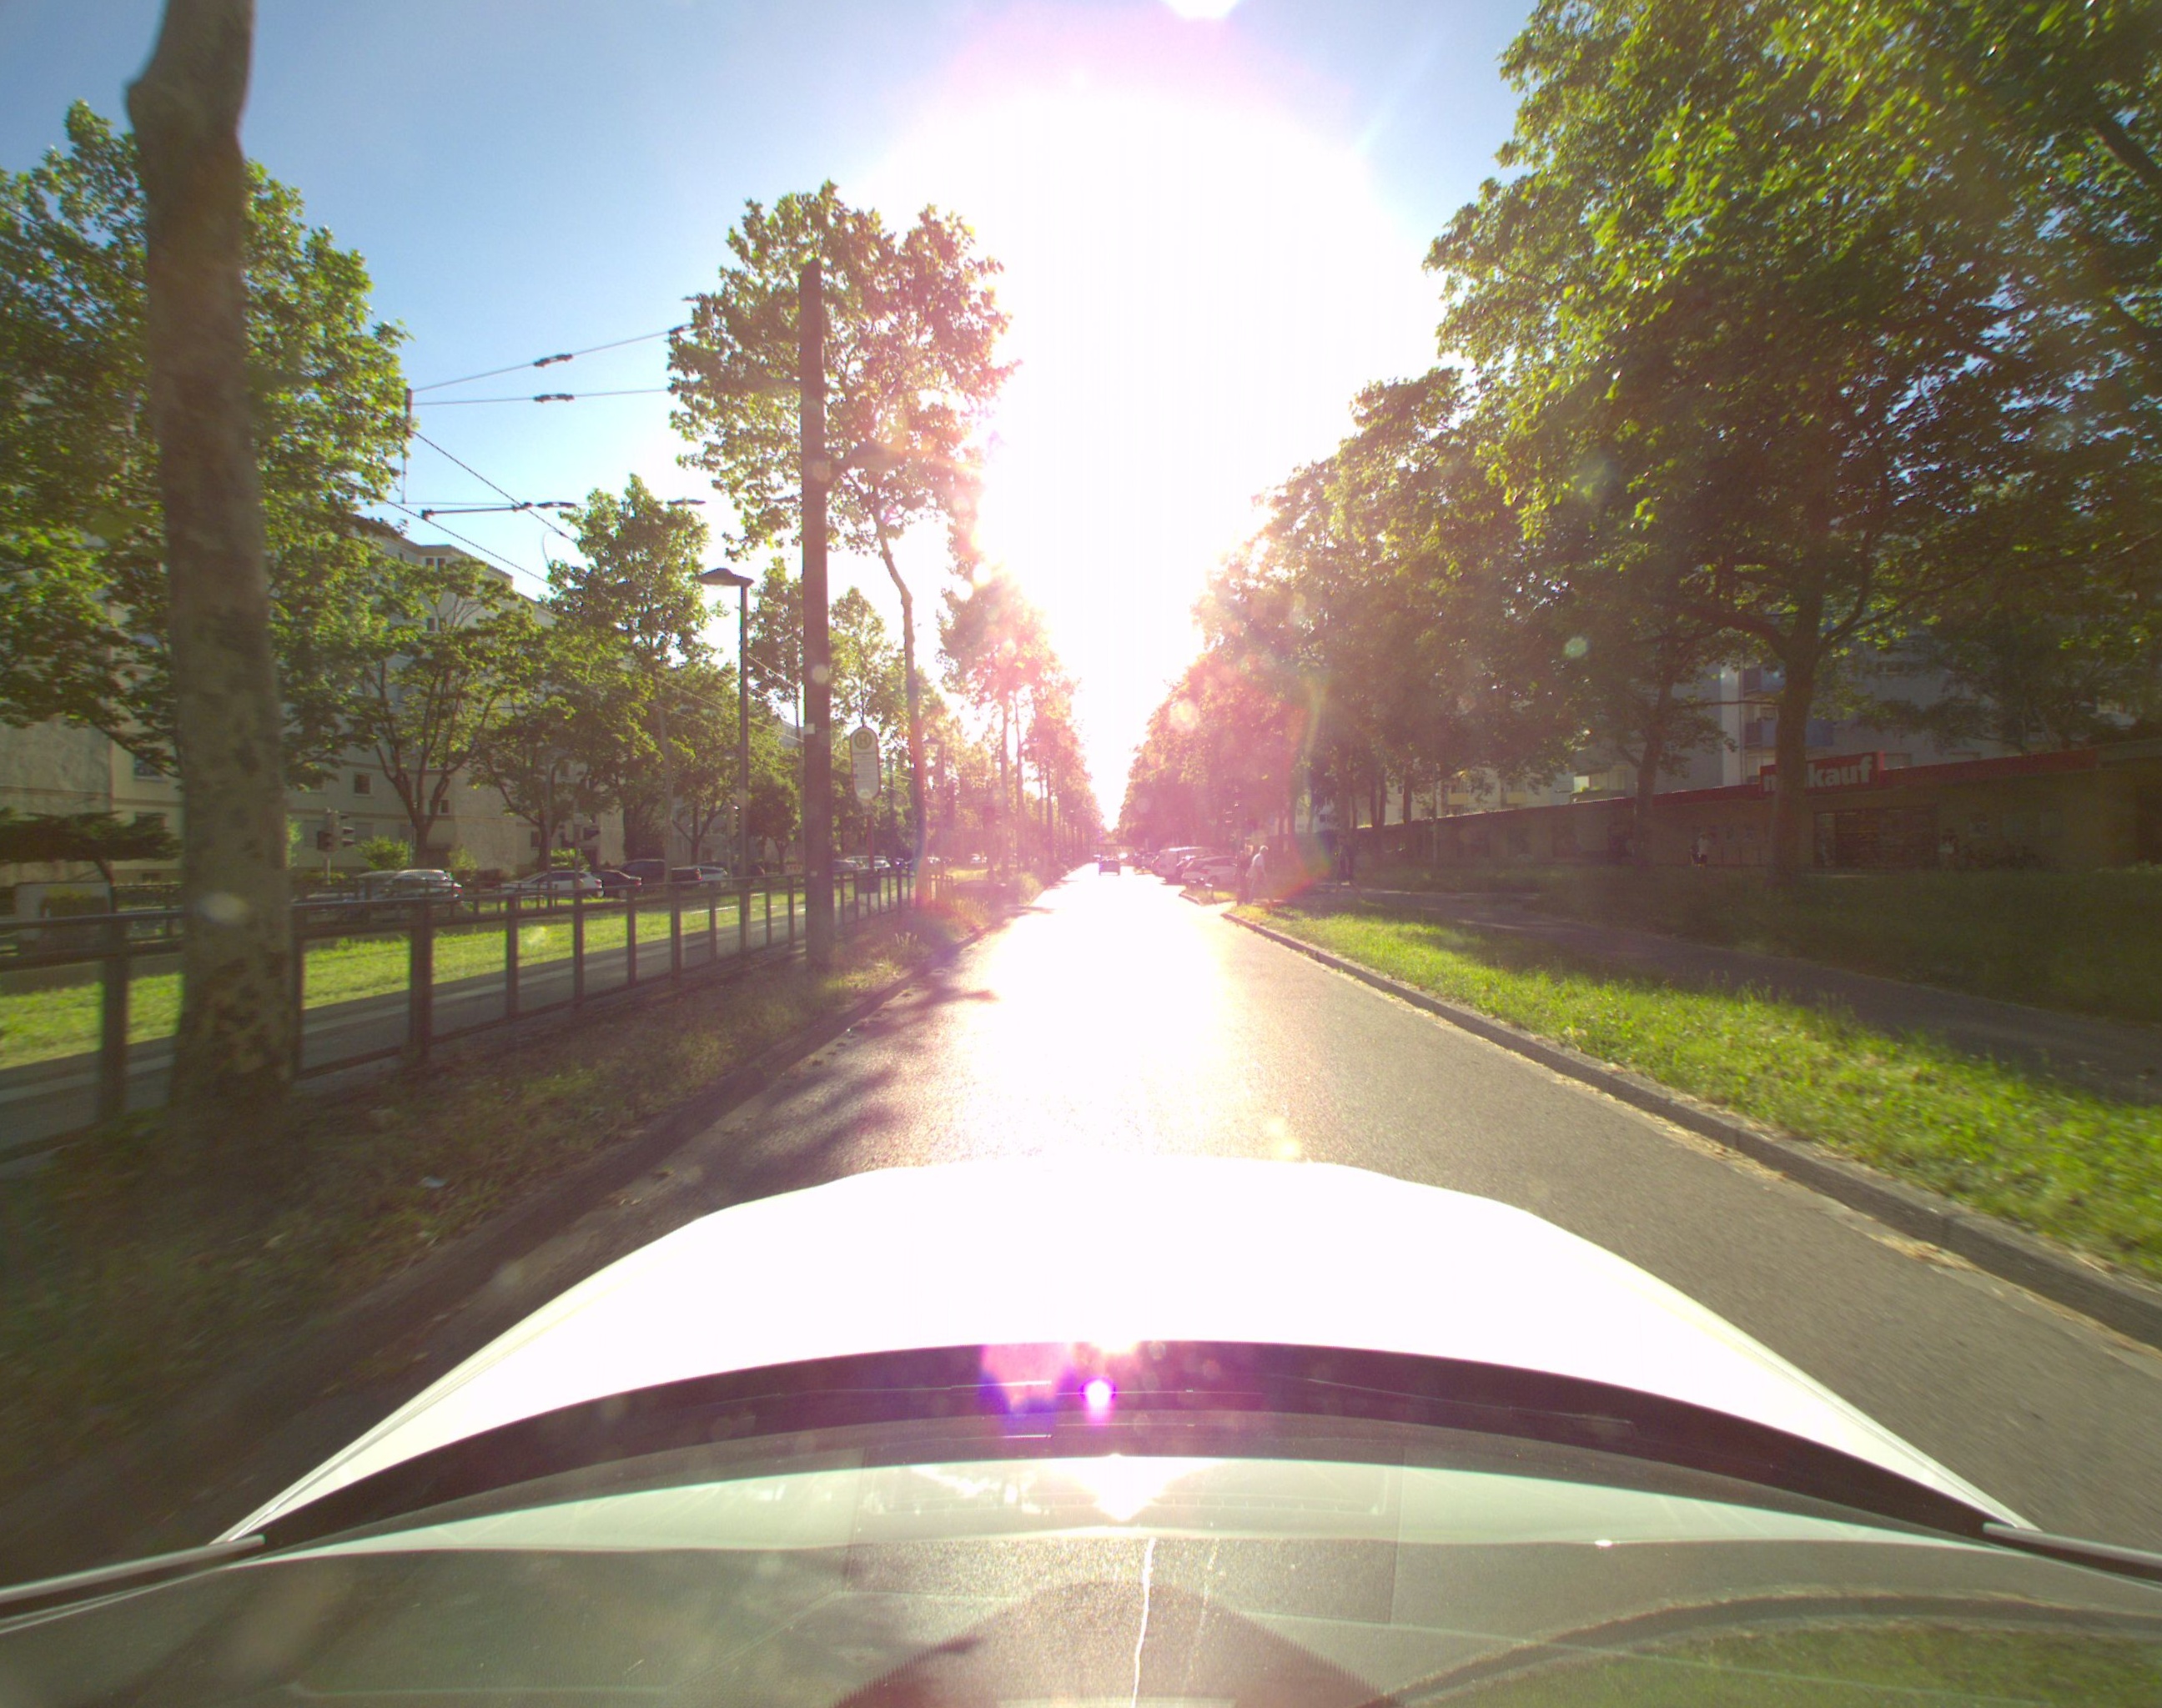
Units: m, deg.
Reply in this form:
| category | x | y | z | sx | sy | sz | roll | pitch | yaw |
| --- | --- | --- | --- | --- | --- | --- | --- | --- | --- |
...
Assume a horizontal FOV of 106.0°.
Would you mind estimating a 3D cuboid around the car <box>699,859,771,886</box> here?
| category | x | y | z | sx | sy | sz | roll | pitch | yaw |
| --- | --- | --- | --- | --- | --- | --- | --- | --- | --- |
| car | -22.921 | 1.193 | 54.012 | 1.631 | 1.475 | 4.109 | 4 | 4 | 44 |

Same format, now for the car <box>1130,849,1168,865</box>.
| category | x | y | z | sx | sy | sz | roll | pitch | yaw |
| --- | --- | --- | --- | --- | --- | --- | --- | --- | --- |
| car | 6.944 | 0.266 | 82.407 | 3.808 | 1.470 | 1.631 | -2 | 0 | -42 |

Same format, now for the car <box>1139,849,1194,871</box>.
| category | x | y | z | sx | sy | sz | roll | pitch | yaw |
| --- | --- | --- | --- | --- | --- | --- | --- | --- | --- |
| car | 6.451 | 0.438 | 61.412 | 4.208 | 1.412 | 1.699 | -2 | 0 | -42 |

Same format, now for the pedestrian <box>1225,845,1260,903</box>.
| category | x | y | z | sx | sy | sz | roll | pitch | yaw |
| --- | --- | --- | --- | --- | --- | --- | --- | --- | --- |
| pedestrian | 4.897 | 0.599 | 24.739 | 0.715 | 1.706 | 0.647 | -2 | -1 | -33 |

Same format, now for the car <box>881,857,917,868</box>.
| category | x | y | z | sx | sy | sz | roll | pitch | yaw |
| --- | --- | --- | --- | --- | --- | --- | --- | --- | --- |
| car | -23.605 | 1.125 | 105.764 | 4.154 | 1.337 | 1.774 | -1 | 2 | -42 |

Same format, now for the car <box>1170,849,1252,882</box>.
| category | x | y | z | sx | sy | sz | roll | pitch | yaw |
| --- | --- | --- | --- | --- | --- | --- | --- | --- | --- |
| car | 6.842 | 0.591 | 42.727 | 4.011 | 1.429 | 1.782 | -4 | 1 | -30 |

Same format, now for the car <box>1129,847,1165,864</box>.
| category | x | y | z | sx | sy | sz | roll | pitch | yaw |
| --- | --- | --- | --- | --- | --- | --- | --- | --- | --- |
| car | 7.549 | 0.192 | 93.047 | 4.105 | 1.811 | 1.632 | -2 | 0 | -39 |

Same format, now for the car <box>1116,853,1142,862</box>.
| category | x | y | z | sx | sy | sz | roll | pitch | yaw |
| --- | --- | --- | --- | --- | --- | --- | --- | --- | --- |
| car | 8.229 | 0.618 | 138.124 | 4.354 | 1.424 | 1.834 | -2 | 0 | -43 |

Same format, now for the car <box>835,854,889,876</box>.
| category | x | y | z | sx | sy | sz | roll | pitch | yaw |
| --- | --- | --- | --- | --- | --- | --- | --- | --- | --- |
| car | -21.966 | 1.094 | 81.755 | 4.821 | 2.006 | 1.871 | -1 | 1 | -37 |

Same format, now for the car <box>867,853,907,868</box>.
| category | x | y | z | sx | sy | sz | roll | pitch | yaw |
| --- | --- | --- | --- | --- | --- | --- | --- | --- | --- |
| car | -21.716 | 0.707 | 91.043 | 4.091 | 1.607 | 1.979 | -1 | 1 | -25 |

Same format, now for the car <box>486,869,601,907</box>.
| category | x | y | z | sx | sy | sz | roll | pitch | yaw |
| --- | --- | --- | --- | --- | --- | --- | --- | --- | --- |
| car | -23.445 | 1.454 | 35.621 | 1.817 | 1.435 | 3.849 | -1 | 0 | 42 |

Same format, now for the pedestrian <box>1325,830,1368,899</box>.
| category | x | y | z | sx | sy | sz | roll | pitch | yaw |
| --- | --- | --- | --- | --- | --- | --- | --- | --- | --- |
| pedestrian | 7.430 | 0.275 | 22.801 | 0.790 | 1.885 | 0.934 | -1 | 0 | 44 |

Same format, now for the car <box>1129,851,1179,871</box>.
| category | x | y | z | sx | sy | sz | roll | pitch | yaw |
| --- | --- | --- | --- | --- | --- | --- | --- | --- | --- |
| car | 5.712 | 0.539 | 63.344 | 3.961 | 1.373 | 1.568 | -2 | 0 | -42 |

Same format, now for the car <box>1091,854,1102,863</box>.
| category | x | y | z | sx | sy | sz | roll | pitch | yaw |
| --- | --- | --- | --- | --- | --- | --- | --- | --- | --- |
| car | 2.642 | 0.758 | 142.462 | 1.842 | 1.535 | 3.868 | -1 | 0 | 2 |

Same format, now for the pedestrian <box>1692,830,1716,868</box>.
| category | x | y | z | sx | sy | sz | roll | pitch | yaw |
| --- | --- | --- | --- | --- | --- | --- | --- | --- | --- |
| pedestrian | 28.687 | -0.222 | 37.512 | 0.494 | 1.700 | 0.715 | -1 | 1 | -4 |

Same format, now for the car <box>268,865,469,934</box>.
| category | x | y | z | sx | sy | sz | roll | pitch | yaw |
| --- | --- | --- | --- | --- | --- | --- | --- | --- | --- |
| car | -18.801 | 1.134 | 21.754 | 1.706 | 1.546 | 3.937 | -1 | 0 | 3 |

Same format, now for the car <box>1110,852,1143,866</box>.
| category | x | y | z | sx | sy | sz | roll | pitch | yaw |
| --- | --- | --- | --- | --- | --- | --- | --- | --- | --- |
| car | 6.025 | 0.670 | 107.296 | 4.341 | 1.717 | 1.617 | -1 | 0 | -38 |

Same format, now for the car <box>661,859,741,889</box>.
| category | x | y | z | sx | sy | sz | roll | pitch | yaw |
| --- | --- | --- | --- | --- | --- | --- | --- | --- | --- |
| car | -23.318 | 1.189 | 50.042 | 4.109 | 1.645 | 1.631 | -2 | 3 | -45 |

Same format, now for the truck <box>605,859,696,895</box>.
| category | x | y | z | sx | sy | sz | roll | pitch | yaw |
| --- | --- | --- | --- | --- | --- | --- | --- | --- | --- |
| truck | -22.691 | 1.181 | 42.999 | 4.102 | 1.775 | 1.634 | 0 | 0 | -35 |

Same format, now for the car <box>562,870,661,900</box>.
| category | x | y | z | sx | sy | sz | roll | pitch | yaw |
| --- | --- | --- | --- | --- | --- | --- | --- | --- | --- |
| car | -22.572 | 1.449 | 39.220 | 3.846 | 1.246 | 1.819 | -2 | 0 | -41 |

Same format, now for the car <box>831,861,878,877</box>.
| category | x | y | z | sx | sy | sz | roll | pitch | yaw |
| --- | --- | --- | --- | --- | --- | --- | --- | --- | --- |
| car | -21.873 | 1.437 | 78.638 | 4.106 | 1.432 | 1.560 | -1 | -2 | -41 |

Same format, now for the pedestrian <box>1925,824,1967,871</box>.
| category | x | y | z | sx | sy | sz | roll | pitch | yaw |
| --- | --- | --- | --- | --- | --- | --- | --- | --- | --- |
| pedestrian | 29.753 | -0.218 | 28.020 | 0.669 | 1.584 | 0.715 | -1 | 1 | -4 |

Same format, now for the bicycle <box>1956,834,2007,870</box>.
| category | x | y | z | sx | sy | sz | roll | pitch | yaw |
| --- | --- | --- | --- | --- | --- | --- | --- | --- | --- |
| bicycle | 30.831 | -0.058 | 27.917 | 0.591 | 1.179 | 1.862 | 0 | 0 | 29 |

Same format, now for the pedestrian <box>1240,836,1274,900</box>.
| category | x | y | z | sx | sy | sz | roll | pitch | yaw |
| --- | --- | --- | --- | --- | --- | --- | --- | --- | --- |
| pedestrian | 4.871 | 0.385 | 22.499 | 0.835 | 1.722 | 0.833 | -1 | 0 | 16 |

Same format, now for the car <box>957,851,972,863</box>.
| category | x | y | z | sx | sy | sz | roll | pitch | yaw |
| --- | --- | --- | --- | --- | --- | --- | --- | --- | --- |
| car | -20.334 | 0.552 | 142.601 | 1.638 | 2.093 | 4.919 | 2 | 0 | 3 |

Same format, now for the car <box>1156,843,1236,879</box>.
| category | x | y | z | sx | sy | sz | roll | pitch | yaw |
| --- | --- | --- | --- | --- | --- | --- | --- | --- | --- |
| car | 6.645 | 0.367 | 46.785 | 4.694 | 1.853 | 1.809 | -2 | 0 | -39 |

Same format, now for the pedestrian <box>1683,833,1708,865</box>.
| category | x | y | z | sx | sy | sz | roll | pitch | yaw |
| --- | --- | --- | --- | --- | --- | --- | --- | --- | --- |
| pedestrian | 28.153 | -0.219 | 37.314 | 0.530 | 1.430 | 0.715 | -1 | 1 | -4 |

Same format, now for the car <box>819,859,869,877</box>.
| category | x | y | z | sx | sy | sz | roll | pitch | yaw |
| --- | --- | --- | --- | --- | --- | --- | --- | --- | --- |
| car | -21.630 | 1.295 | 74.330 | 4.106 | 1.483 | 1.632 | -1 | 0 | -41 |

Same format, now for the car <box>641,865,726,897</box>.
| category | x | y | z | sx | sy | sz | roll | pitch | yaw |
| --- | --- | --- | --- | --- | --- | --- | --- | --- | --- |
| car | -22.829 | 1.512 | 46.881 | 4.106 | 1.646 | 1.632 | -1 | -1 | -41 |

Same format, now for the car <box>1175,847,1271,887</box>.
| category | x | y | z | sx | sy | sz | roll | pitch | yaw |
| --- | --- | --- | --- | --- | --- | --- | --- | --- | --- |
| car | 6.390 | 0.568 | 36.577 | 4.011 | 1.469 | 1.744 | -4 | 1 | -30 |

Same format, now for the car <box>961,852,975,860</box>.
| category | x | y | z | sx | sy | sz | roll | pitch | yaw |
| --- | --- | --- | --- | --- | --- | --- | --- | --- | --- |
| car | -21.274 | 0.360 | 153.377 | 1.864 | 1.453 | 3.577 | 2 | 0 | 3 |

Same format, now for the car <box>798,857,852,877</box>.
| category | x | y | z | sx | sy | sz | roll | pitch | yaw |
| --- | --- | --- | --- | --- | --- | --- | --- | --- | --- |
| car | -22.264 | 1.120 | 70.885 | 4.106 | 1.646 | 1.631 | -1 | -2 | -41 |

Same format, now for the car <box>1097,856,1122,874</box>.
| category | x | y | z | sx | sy | sz | roll | pitch | yaw |
| --- | --- | --- | --- | --- | --- | --- | --- | --- | --- |
| car | 2.207 | 0.847 | 64.727 | 1.915 | 1.411 | 4.001 | 0 | 0 | 1 |

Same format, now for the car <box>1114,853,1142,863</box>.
| category | x | y | z | sx | sy | sz | roll | pitch | yaw |
| --- | --- | --- | --- | --- | --- | --- | --- | --- | --- |
| car | 7.418 | 0.599 | 127.983 | 4.519 | 1.443 | 1.834 | -2 | 0 | -43 |

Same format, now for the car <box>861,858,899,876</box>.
| category | x | y | z | sx | sy | sz | roll | pitch | yaw |
| --- | --- | --- | --- | --- | --- | --- | --- | --- | --- |
| car | -17.022 | 1.052 | 69.240 | 1.985 | 1.389 | 4.171 | -1 | 0 | 3 |

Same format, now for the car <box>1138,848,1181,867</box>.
| category | x | y | z | sx | sy | sz | roll | pitch | yaw |
| --- | --- | --- | --- | --- | --- | --- | --- | --- | --- |
| car | 7.657 | 0.342 | 79.380 | 4.049 | 1.705 | 1.740 | -2 | 0 | -40 |

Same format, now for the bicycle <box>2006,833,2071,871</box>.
| category | x | y | z | sx | sy | sz | roll | pitch | yaw |
| --- | --- | --- | --- | --- | --- | --- | --- | --- | --- |
| bicycle | 30.980 | -0.057 | 26.387 | 0.592 | 1.179 | 1.861 | 0 | 0 | 23 |
